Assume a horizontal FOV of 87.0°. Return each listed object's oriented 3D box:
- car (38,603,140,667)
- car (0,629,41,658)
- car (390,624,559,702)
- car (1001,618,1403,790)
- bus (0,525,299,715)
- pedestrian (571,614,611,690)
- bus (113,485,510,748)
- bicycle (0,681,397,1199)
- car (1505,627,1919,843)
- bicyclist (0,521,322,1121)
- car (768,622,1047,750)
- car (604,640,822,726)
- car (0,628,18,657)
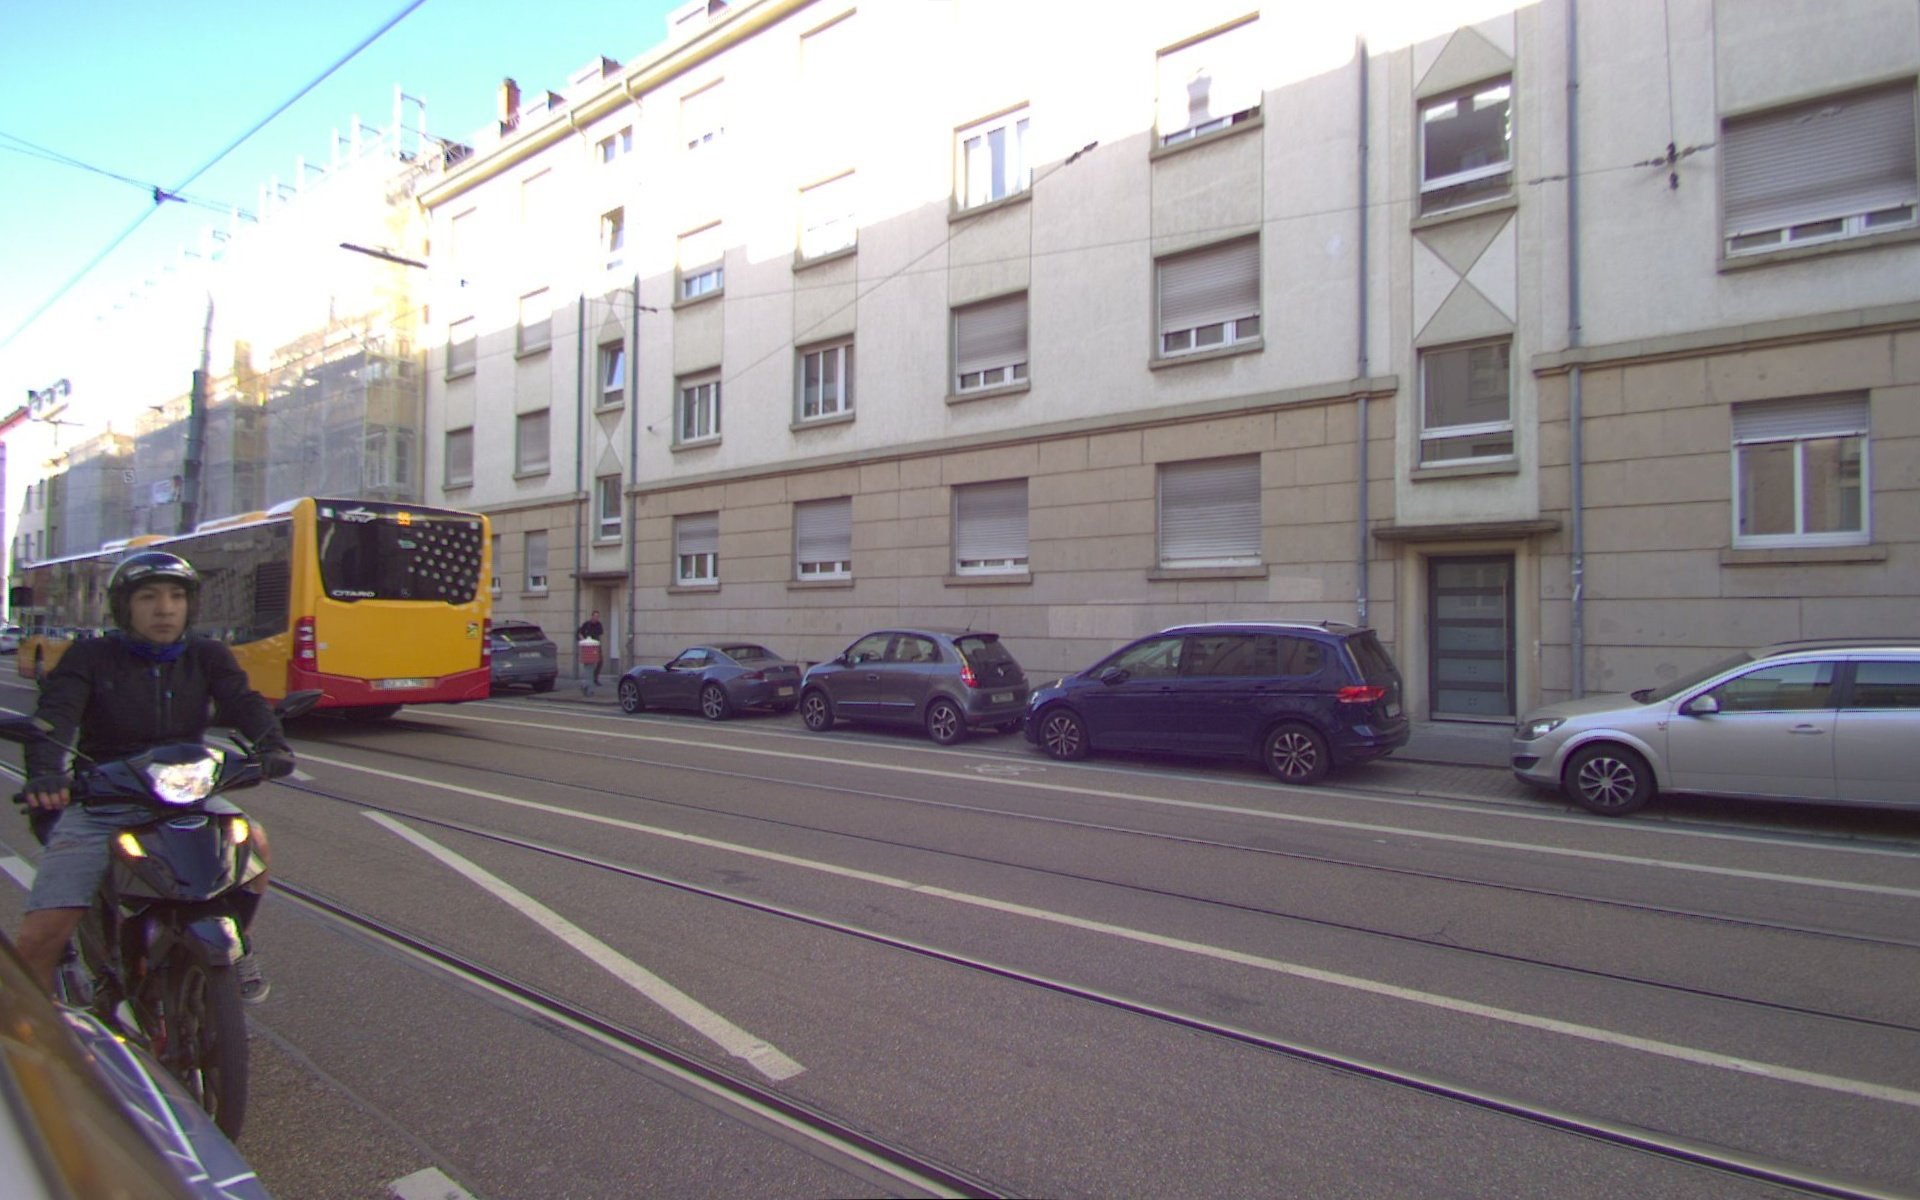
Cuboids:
[{"bbox_3d":[-36.323,1.449,42.141,5.993,2.488,2.099,-1,-3,39],"label":"car"},{"bbox_3d":[-50.086,2.281,53.368,3.995,1.523,1.729,-1,-3,39],"label":"car"},{"bbox_3d":[-10.976,1.356,22.765,4.400,1.580,1.683,-1,-3,39],"label":"car"},{"bbox_3d":[2.702,1.045,11.761,4.235,1.627,1.684,0,0,36],"label":"car"},{"bbox_3d":[-17.249,0.463,21.148,10.183,3.182,2.695,-1,-3,39],"label":"bus"},{"bbox_3d":[-8.477,1.185,23.243,0.716,1.707,0.575,-1,-1,38],"label":"pedestrian"},{"bbox_3d":[-10.267,0.302,15.676,7.565,3.186,2.712,-1,-3,37],"label":"bus"},{"bbox_3d":[-2.591,0.888,3.144,1.971,1.186,0.731,-1,-3,38],"label":"bicycle"},{"bbox_3d":[7.140,1.028,8.421,4.380,1.521,1.683,0,0,38],"label":"car"},{"bbox_3d":[-2.651,0.595,3.172,0.849,1.566,0.833,-1,-3,38],"label":"bicyclist"},{"bbox_3d":[-0.852,1.142,14.858,3.995,1.581,1.683,-1,0,39],"label":"car"},{"bbox_3d":[-4.338,1.363,17.571,3.779,1.225,1.684,0,0,37],"label":"car"},{"bbox_3d":[-54.821,2.398,57.142,4.216,1.590,1.682,-1,-1,37],"label":"car"}]
